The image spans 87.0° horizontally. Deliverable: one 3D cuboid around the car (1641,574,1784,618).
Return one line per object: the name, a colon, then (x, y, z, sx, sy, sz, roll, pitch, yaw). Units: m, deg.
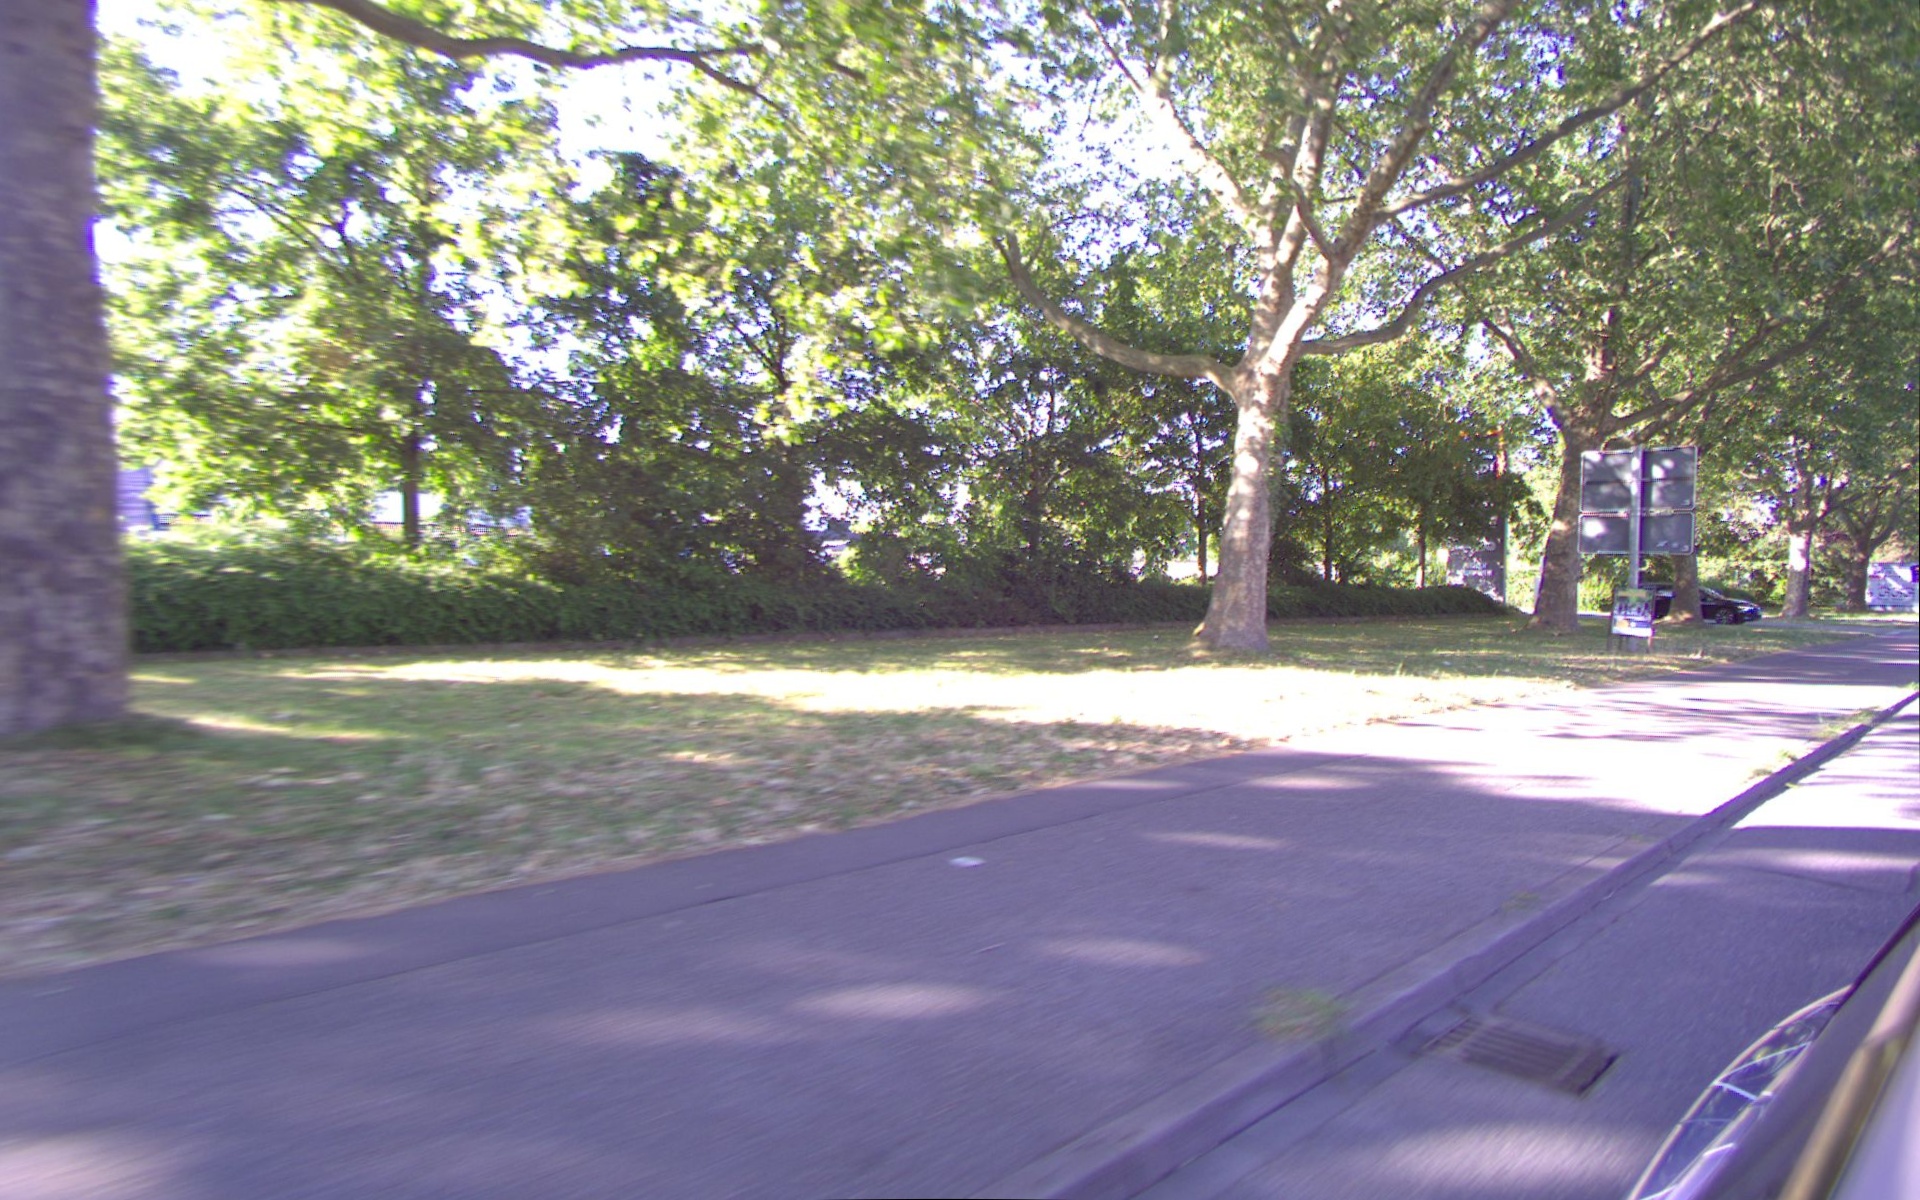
car: (28.426, -0.180, 38.313, 1.728, 1.461, 3.999, 0, 3, -37)

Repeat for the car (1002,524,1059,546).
car: (5.480, -5.070, 79.300, 1.962, 1.571, 4.591, 0, 2, -35)
